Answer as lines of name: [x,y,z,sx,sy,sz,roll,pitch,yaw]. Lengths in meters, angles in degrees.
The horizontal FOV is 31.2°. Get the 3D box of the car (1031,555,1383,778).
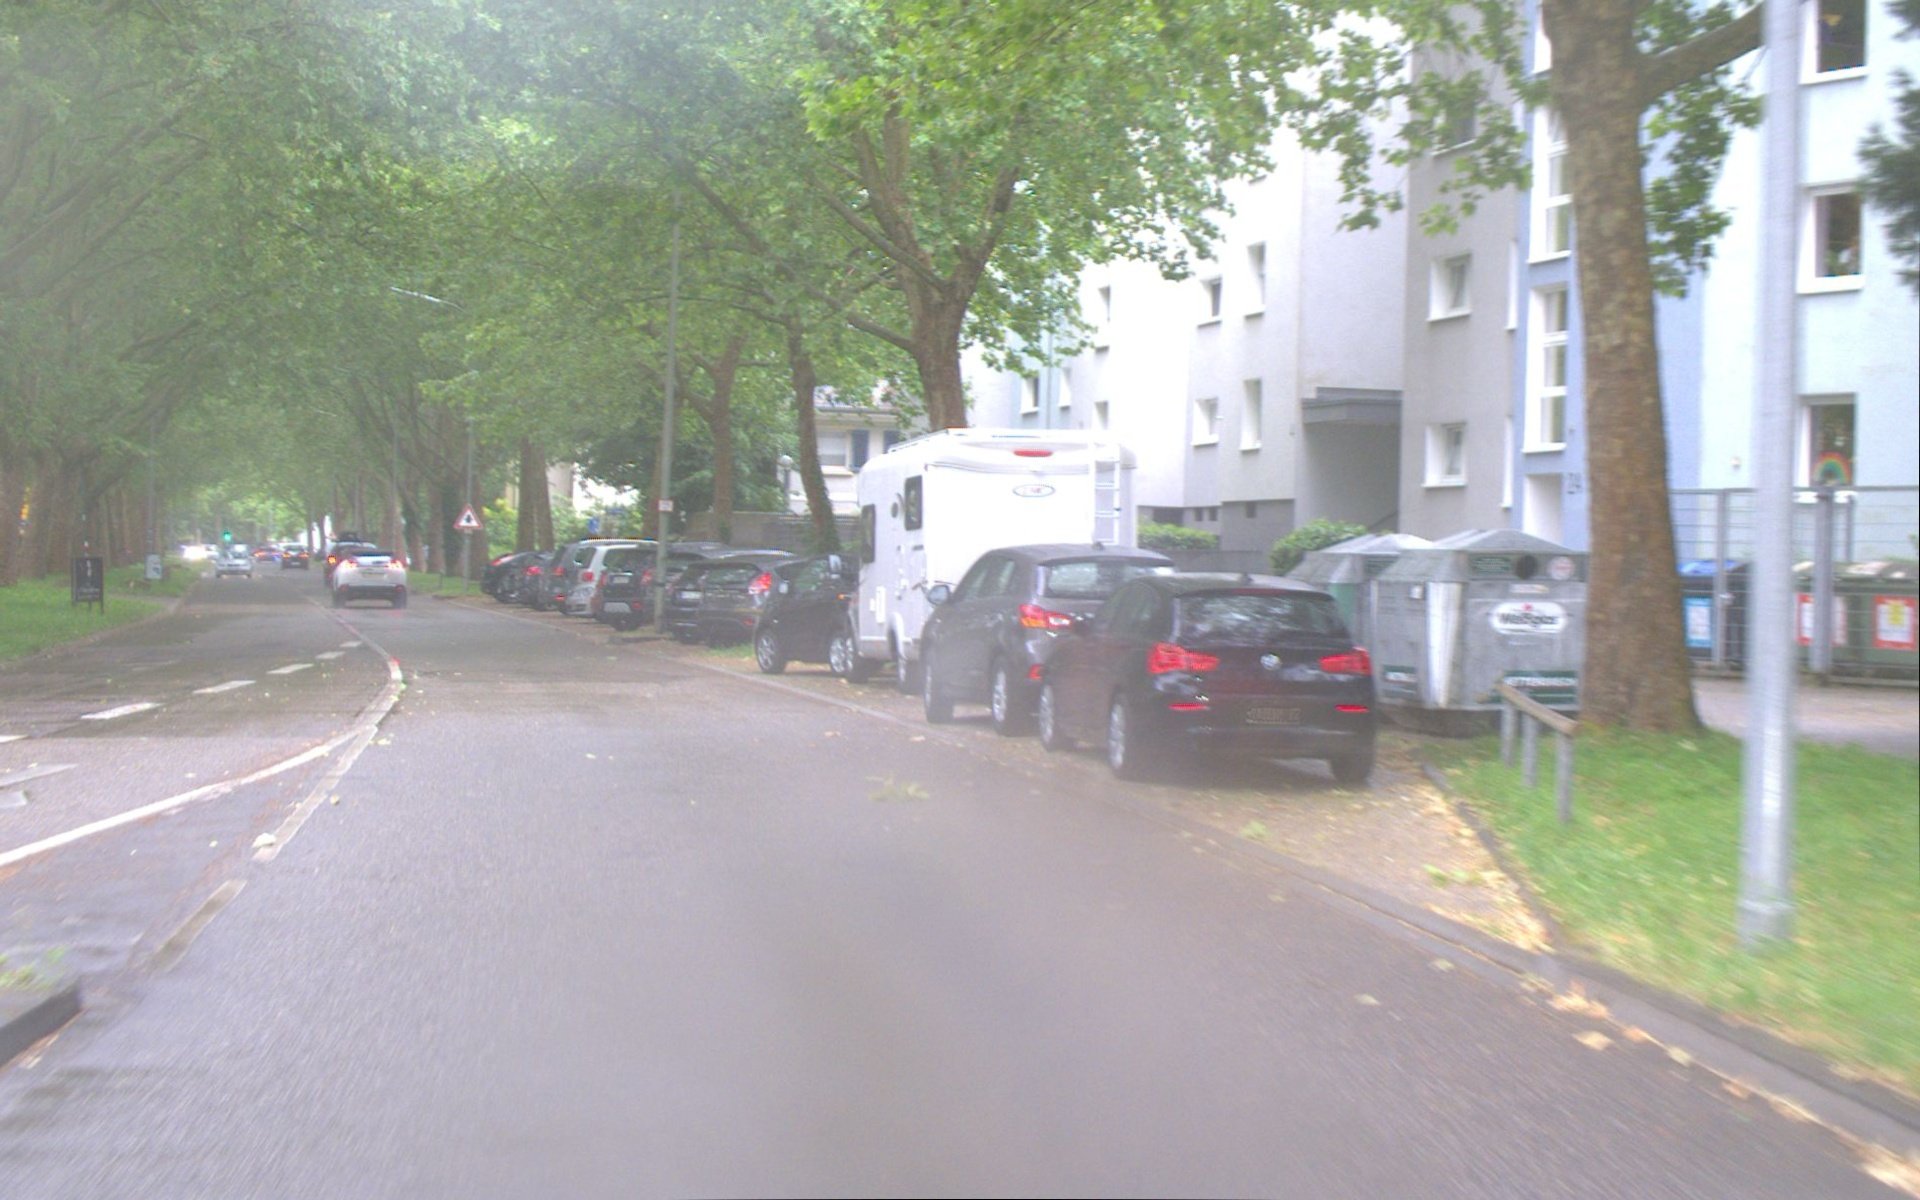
car: [1.673,0.415,24.680,1.548,1.385,4.151,2,1,-9]

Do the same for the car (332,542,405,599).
car: [-15.210,-0.783,88.354,1.705,1.406,3.646,0,1,-12]

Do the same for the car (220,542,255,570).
car: [-36.692,-2.227,174.684,1.678,1.384,4.550,0,1,-11]

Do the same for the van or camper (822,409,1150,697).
van or camper: [0.131,-0.510,37.824,2.318,2.798,6.866,2,0,-10]

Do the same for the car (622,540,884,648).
car: [-3.383,-0.087,56.610,3.988,1.596,1.802,2,1,-41]

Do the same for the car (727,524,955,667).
car: [-1.528,-0.070,43.154,1.686,1.647,2.947,2,1,-28]

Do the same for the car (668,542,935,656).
car: [-2.423,-0.002,53.086,3.758,1.596,1.802,2,1,-41]

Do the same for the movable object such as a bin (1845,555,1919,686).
movable object such as a bin: [11.040,0.245,38.979,1.316,1.427,1.371,2,1,-29]

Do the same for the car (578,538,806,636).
car: [-4.944,-0.266,63.640,3.856,1.691,1.837,-2,3,-39]

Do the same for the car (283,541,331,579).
car: [-24.513,-1.510,128.927,1.705,1.406,3.646,0,1,-12]

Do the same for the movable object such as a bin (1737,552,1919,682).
movable object such as a bin: [10.268,0.188,40.438,1.212,1.427,1.863,2,1,-29]

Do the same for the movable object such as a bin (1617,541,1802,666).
movable object such as a bin: [9.132,0.033,41.950,1.212,1.427,1.863,2,1,-29]

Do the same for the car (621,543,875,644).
car: [-3.729,-0.109,60.786,3.988,1.596,2.035,2,1,-39]

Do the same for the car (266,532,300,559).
car: [-35.318,-2.855,179.325,1.705,1.406,3.646,0,1,-12]

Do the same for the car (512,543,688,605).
car: [-8.760,-0.641,83.522,4.034,1.436,1.686,-1,1,-14]

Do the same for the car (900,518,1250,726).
car: [0.903,0.195,29.981,1.915,1.615,4.455,2,-1,-13]

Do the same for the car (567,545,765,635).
car: [-6.279,-0.212,73.284,3.986,1.721,1.801,2,1,-11]

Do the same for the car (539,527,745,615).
car: [-7.111,-0.654,76.738,4.336,1.756,1.819,2,1,-11]
